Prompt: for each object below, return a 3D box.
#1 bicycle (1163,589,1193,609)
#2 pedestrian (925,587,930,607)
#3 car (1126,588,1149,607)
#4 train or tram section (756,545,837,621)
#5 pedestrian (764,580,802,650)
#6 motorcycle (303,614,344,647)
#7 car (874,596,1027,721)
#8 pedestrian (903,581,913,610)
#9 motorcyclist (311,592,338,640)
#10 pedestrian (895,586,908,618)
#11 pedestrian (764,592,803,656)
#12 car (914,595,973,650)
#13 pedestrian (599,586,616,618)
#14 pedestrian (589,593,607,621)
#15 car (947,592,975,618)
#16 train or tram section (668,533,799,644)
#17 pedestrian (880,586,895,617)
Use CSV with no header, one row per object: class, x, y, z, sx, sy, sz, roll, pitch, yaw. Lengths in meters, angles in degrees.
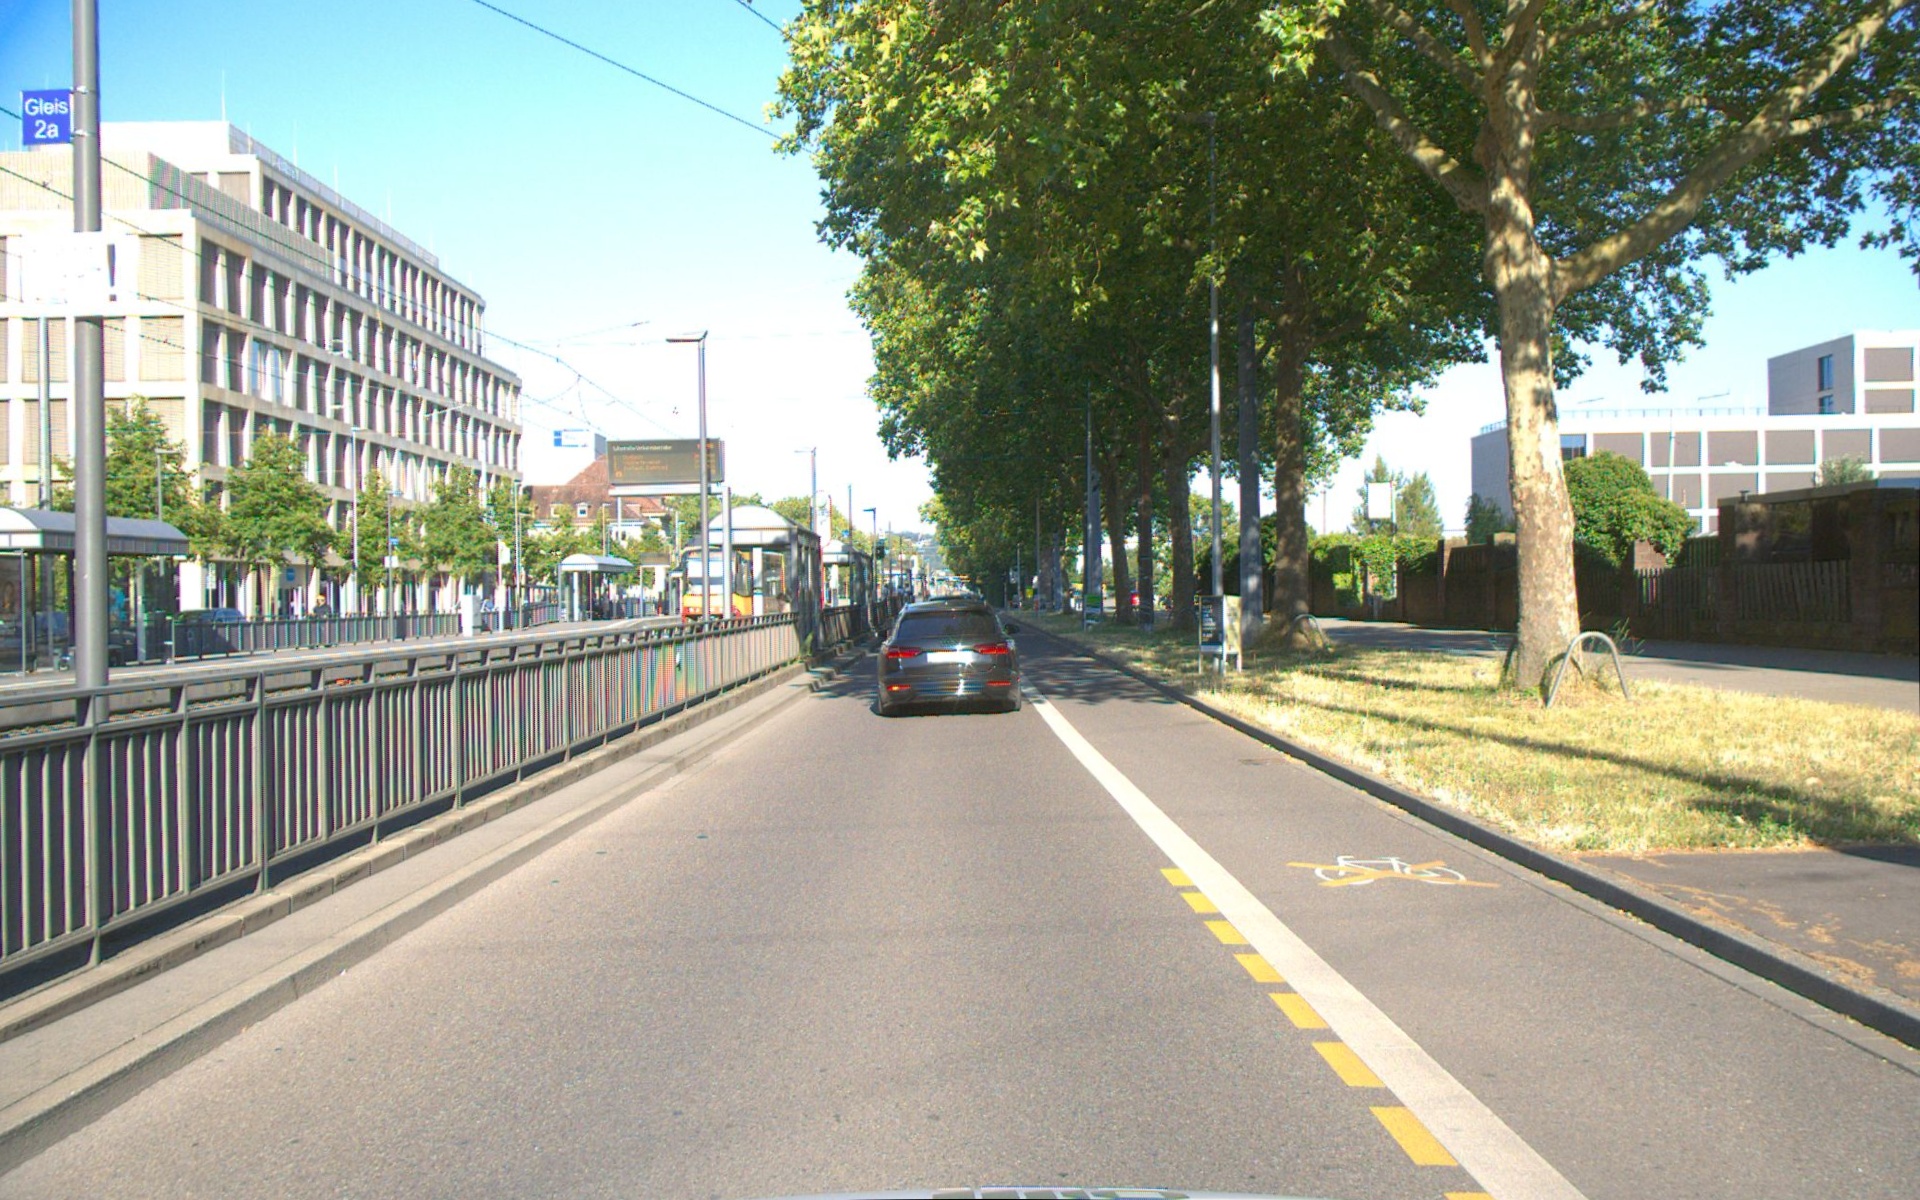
bicycle,13.068,-0.043,99.184,1.737,1.140,0.439,-2,0,-1
pedestrian,-2.721,-0.255,139.465,0.403,1.747,0.665,-1,0,0
car,15.252,-0.234,142.223,1.581,1.542,3.803,-1,0,0
train or tram section,-8.880,-0.881,91.085,3.241,3.896,11.843,-1,0,0
pedestrian,-3.980,0.333,37.214,0.730,1.535,0.666,-2,0,2
motorcycle,-20.906,1.001,54.387,0.592,1.039,1.841,-1,0,1
car,-0.174,0.712,21.916,1.840,1.482,3.355,-1,0,-2
pedestrian,-3.217,-0.276,102.500,0.599,1.815,0.613,-1,0,0
motorcyclist,-20.906,0.523,54.395,0.563,1.560,0.765,-1,0,1
pedestrian,-3.178,0.110,89.958,0.599,1.698,0.613,-1,0,2
pedestrian,-3.647,0.491,34.161,0.726,1.296,0.524,-1,0,-1
car,-0.561,0.670,52.142,1.727,1.647,3.998,-1,0,-2
pedestrian,-17.336,0.113,81.305,0.601,1.554,0.725,-1,0,8
pedestrian,-17.238,0.332,78.754,0.601,1.282,0.725,-1,0,4
car,0.065,0.321,111.296,1.727,1.647,3.998,-1,0,-2
train or tram section,-8.743,-0.420,65.880,3.241,3.896,14.218,-1,0,0
pedestrian,-3.675,0.090,84.260,0.601,1.576,0.725,-1,0,10
